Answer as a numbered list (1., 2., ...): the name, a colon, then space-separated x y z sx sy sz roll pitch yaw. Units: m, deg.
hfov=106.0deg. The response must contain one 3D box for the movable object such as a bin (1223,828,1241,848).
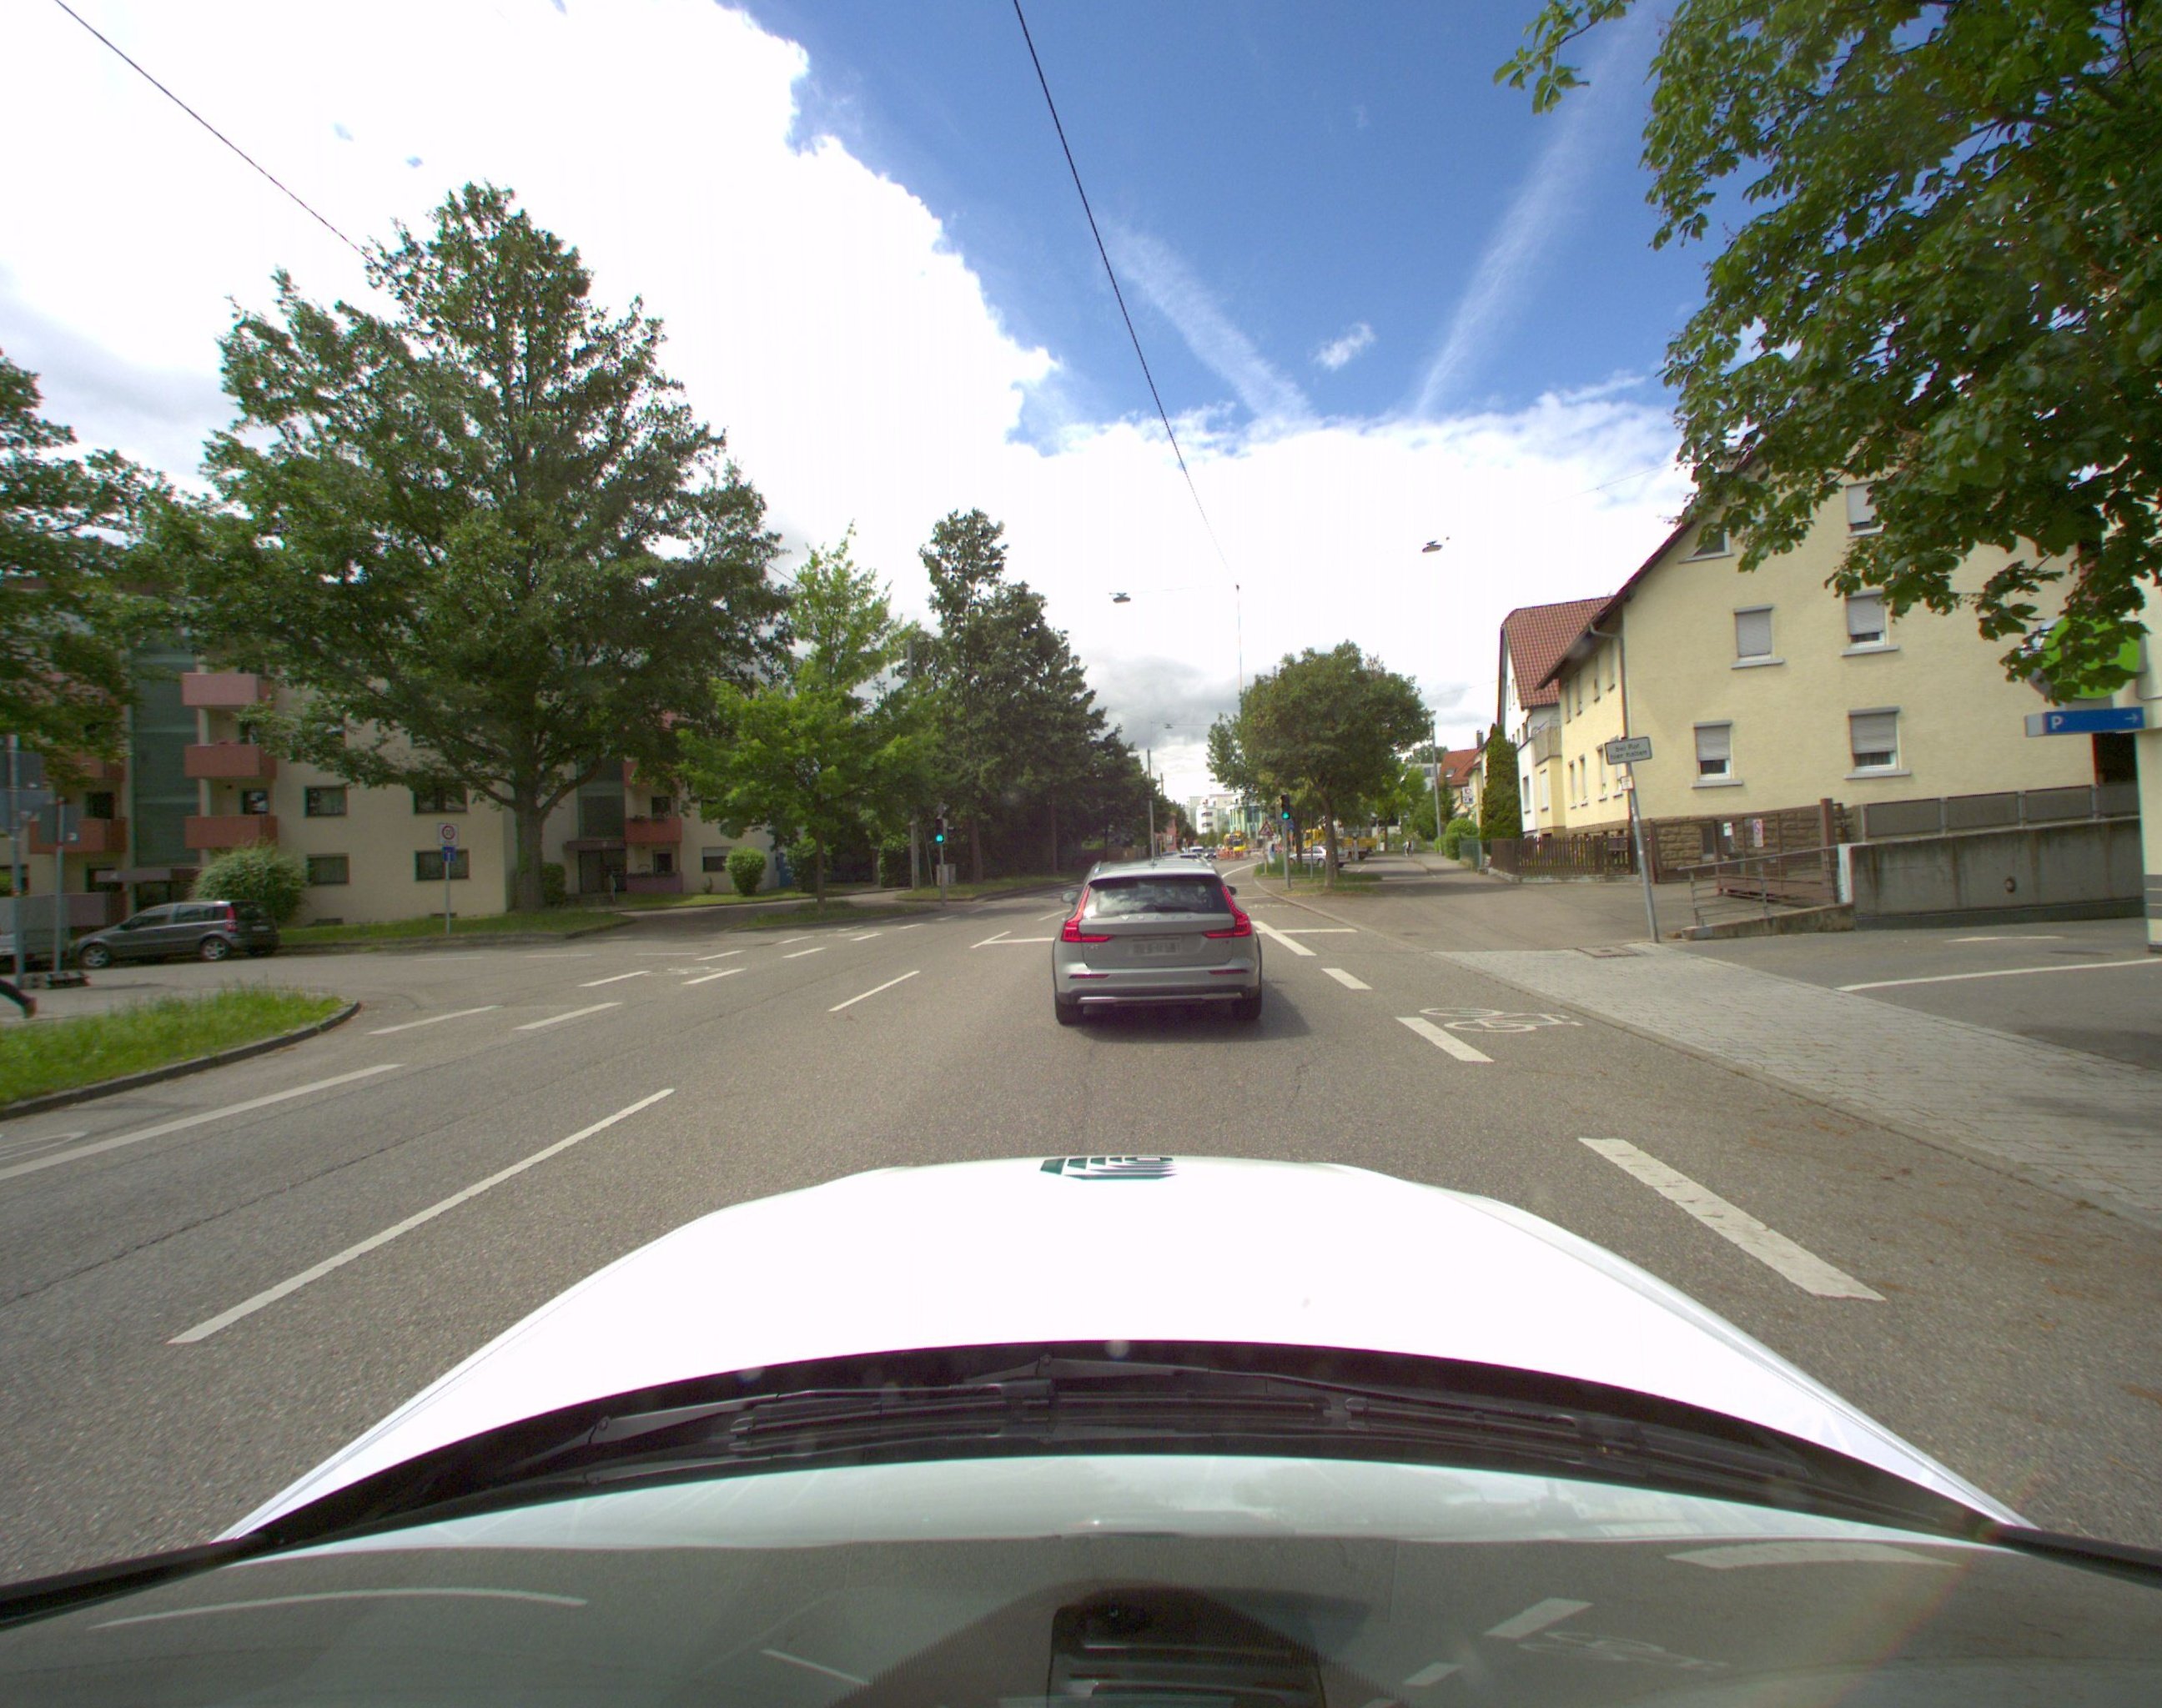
1. movable object such as a bin: 24.448 -2.611 132.017 2.299 2.990 6.436 -3 0 5

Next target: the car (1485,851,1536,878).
1. car: 19.282 0.472 36.666 1.450 1.124 3.890 0 -1 19

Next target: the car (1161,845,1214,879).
1. car: 4.997 0.372 37.909 2.088 1.510 4.014 0 -1 13

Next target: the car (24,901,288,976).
1. car: -22.775 2.032 20.241 3.995 1.452 1.687 -3 -1 -16

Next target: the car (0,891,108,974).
1. car: -27.099 2.044 19.828 3.990 1.844 1.838 -5 0 -12

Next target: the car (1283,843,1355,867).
1. car: 15.665 0.080 53.841 1.773 1.451 4.644 -2 0 -30

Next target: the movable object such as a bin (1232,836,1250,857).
1. movable object such as a bin: 21.446 -0.990 108.747 2.020 2.643 5.961 -3 0 13

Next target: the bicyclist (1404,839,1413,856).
1. bicyclist: 30.555 -0.619 75.989 0.587 1.559 0.567 0 -1 1

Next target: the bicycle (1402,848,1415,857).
1. bicycle: 30.550 -0.119 76.005 0.592 0.812 1.754 0 0 1

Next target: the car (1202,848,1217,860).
1. car: 18.425 0.002 116.734 1.981 1.737 4.011 0 -1 10

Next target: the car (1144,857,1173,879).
1. car: 6.116 1.103 63.741 1.887 1.580 4.010 -4 -1 9

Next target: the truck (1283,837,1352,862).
1. truck: 19.793 -0.344 68.500 2.007 2.014 5.619 0 -1 -33

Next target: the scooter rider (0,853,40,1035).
1. scooter rider: -12.296 0.998 8.939 0.674 2.014 0.794 0 -1 1

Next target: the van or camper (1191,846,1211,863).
1. van or camper: 13.524 0.012 91.594 1.848 1.776 4.395 -2 0 12

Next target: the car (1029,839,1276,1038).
1. car: 0.717 0.698 8.513 1.919 1.540 4.005 -2 -1 4

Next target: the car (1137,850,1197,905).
1. car: 2.531 0.667 24.389 1.653 1.508 3.707 0 -1 5

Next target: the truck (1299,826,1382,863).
1. truck: 22.251 -0.738 70.162 2.780 3.008 6.639 0 -1 -32
